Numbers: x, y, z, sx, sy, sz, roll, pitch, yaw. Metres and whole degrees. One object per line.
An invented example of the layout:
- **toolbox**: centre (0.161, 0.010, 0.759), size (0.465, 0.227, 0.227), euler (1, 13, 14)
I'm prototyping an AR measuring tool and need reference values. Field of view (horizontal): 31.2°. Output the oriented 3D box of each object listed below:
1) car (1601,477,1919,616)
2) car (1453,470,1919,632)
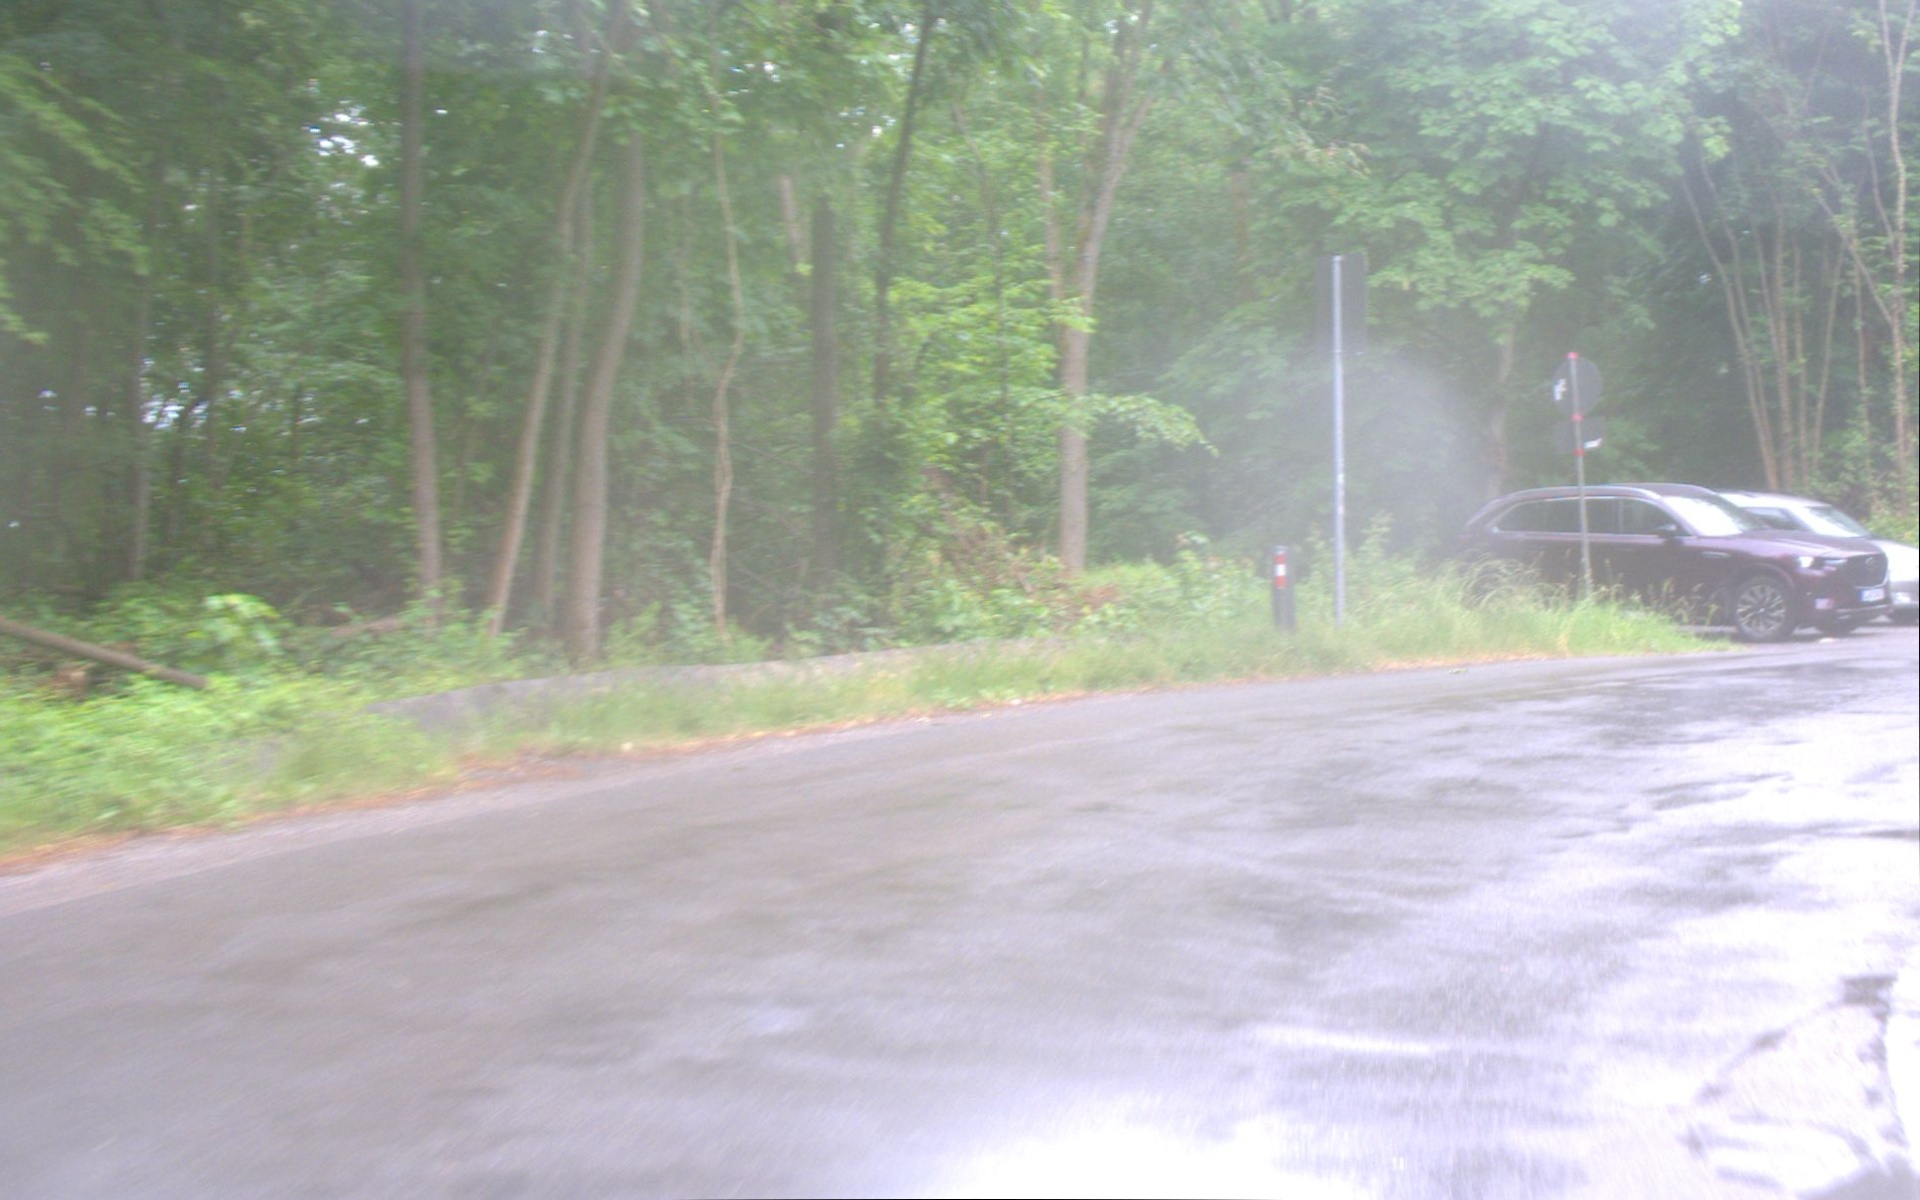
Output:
- **car**: centre (9.939, -0.656, 41.118), size (4.147, 1.549, 1.769), euler (1, 3, 44)
- **car**: centre (8.104, -0.566, 38.621), size (4.837, 1.671, 1.872), euler (1, 3, 42)
